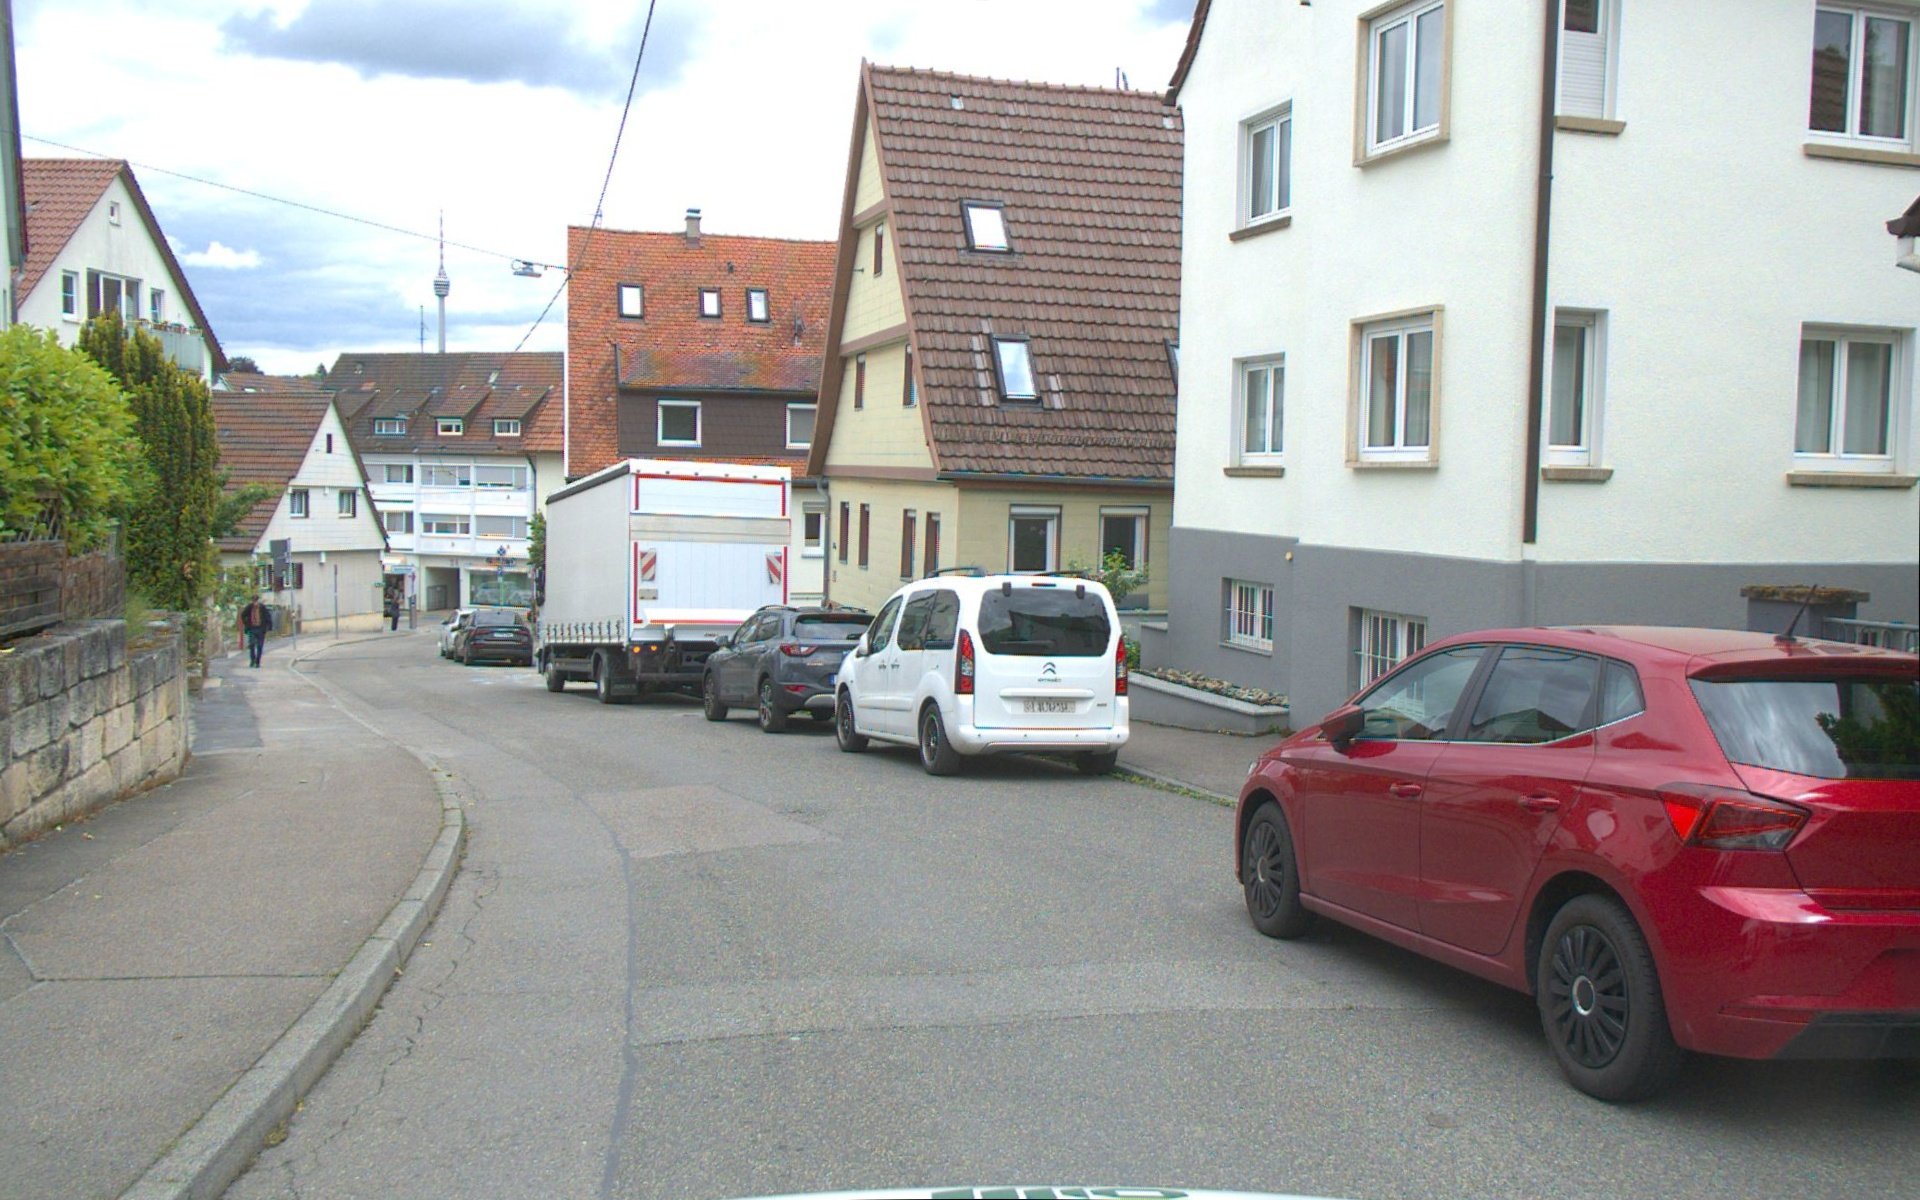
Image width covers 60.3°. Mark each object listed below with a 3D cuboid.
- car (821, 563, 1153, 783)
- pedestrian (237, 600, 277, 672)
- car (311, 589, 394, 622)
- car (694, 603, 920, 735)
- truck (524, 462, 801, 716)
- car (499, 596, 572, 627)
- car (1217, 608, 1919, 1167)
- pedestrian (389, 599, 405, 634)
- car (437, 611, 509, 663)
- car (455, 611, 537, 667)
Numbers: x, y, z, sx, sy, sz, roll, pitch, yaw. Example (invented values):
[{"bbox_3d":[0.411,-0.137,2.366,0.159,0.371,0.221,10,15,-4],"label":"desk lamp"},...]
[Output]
[{"bbox_3d":[0.100,0.642,16.270,1.809,1.846,4.277,1,-1,-21],"label":"car"},{"bbox_3d":[-17.065,0.869,40.134,0.829,1.707,0.969,2,-2,-25],"label":"pedestrian"},{"bbox_3d":[-34.902,0.317,95.028,4.265,1.810,1.948,0,2,21],"label":"car"},{"bbox_3d":[-2.068,0.848,21.319,1.710,1.532,4.020,1,-2,-24],"label":"car"},{"bbox_3d":[-5.301,-0.135,28.092,2.642,3.660,8.039,0,0,-25],"label":"truck"},{"bbox_3d":[-23.339,0.622,91.001,3.608,1.583,1.697,1,1,22],"label":"car"},{"bbox_3d":[2.503,0.788,6.451,1.650,1.477,3.839,1,-1,-13],"label":"car"},{"bbox_3d":[-27.742,0.795,81.507,0.640,1.714,0.598,0,1,-32],"label":"pedestrian"},{"bbox_3d":[-14.668,1.088,49.685,1.769,1.471,4.271,1,-1,-21],"label":"car"},{"bbox_3d":[-12.589,1.035,44.744,1.651,1.433,4.023,2,-1,-23],"label":"car"}]
